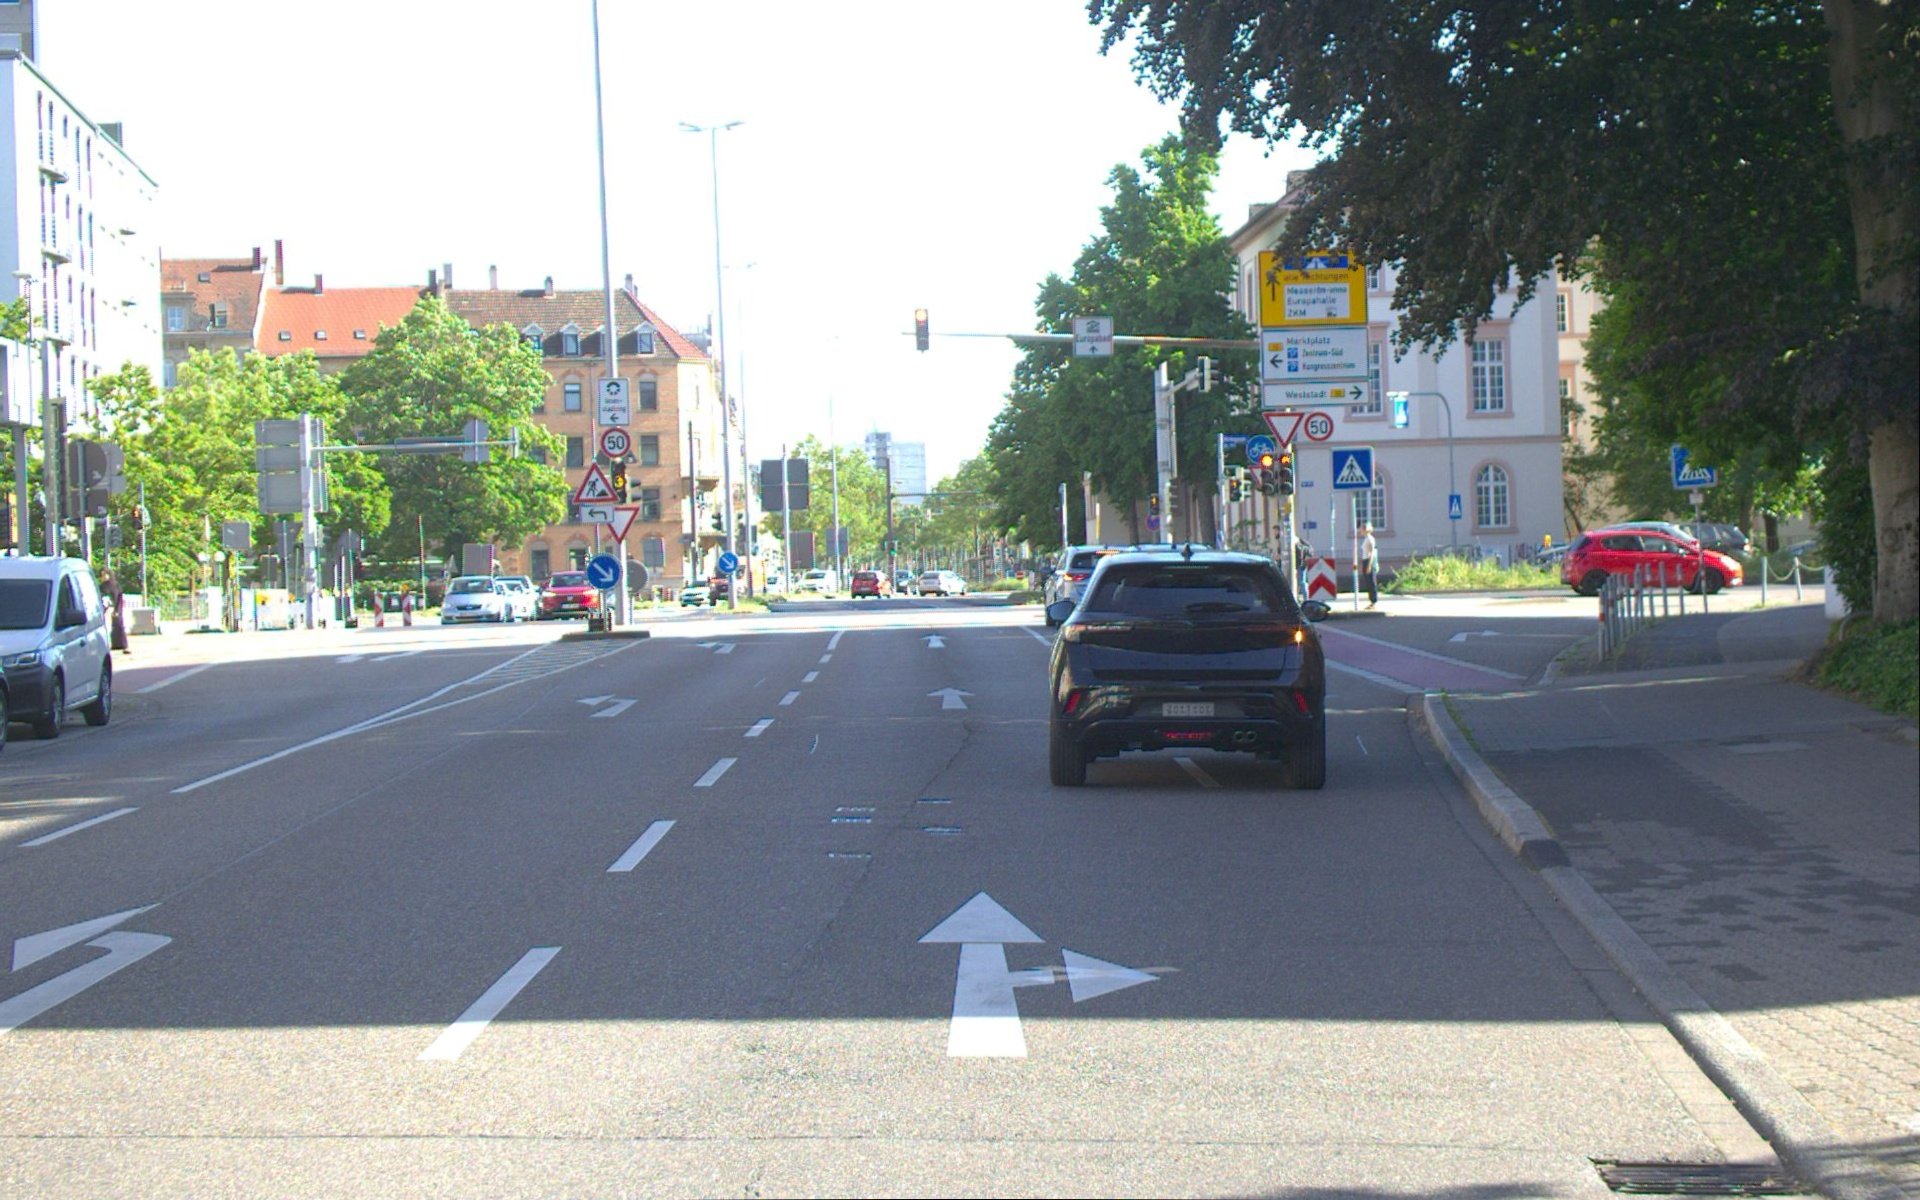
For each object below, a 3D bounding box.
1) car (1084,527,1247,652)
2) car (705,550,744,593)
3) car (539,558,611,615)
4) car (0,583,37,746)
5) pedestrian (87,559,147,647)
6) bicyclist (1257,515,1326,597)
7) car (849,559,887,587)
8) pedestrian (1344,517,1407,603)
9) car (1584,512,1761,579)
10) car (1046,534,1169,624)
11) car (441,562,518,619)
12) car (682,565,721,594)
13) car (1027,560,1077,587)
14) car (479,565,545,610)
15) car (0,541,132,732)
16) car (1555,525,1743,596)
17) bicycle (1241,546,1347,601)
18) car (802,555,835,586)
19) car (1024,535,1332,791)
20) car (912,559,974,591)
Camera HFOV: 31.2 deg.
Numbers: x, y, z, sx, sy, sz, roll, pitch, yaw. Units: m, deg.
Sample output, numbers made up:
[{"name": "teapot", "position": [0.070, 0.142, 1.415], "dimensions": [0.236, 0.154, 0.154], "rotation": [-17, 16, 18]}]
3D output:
[{"name": "car", "position": [2.758, -0.177, 46.860], "dimensions": [1.830, 1.573, 3.840], "rotation": [-2, 1, -2]}, {"name": "car", "position": [-12.263, -1.491, 179.243], "dimensions": [1.810, 2.127, 4.000], "rotation": [-2, 1, -2]}, {"name": "car", "position": [-11.668, -0.416, 104.383], "dimensions": [1.791, 1.611, 4.000], "rotation": [-2, 1, -1]}, {"name": "car", "position": [-9.448, 0.626, 30.070], "dimensions": [1.671, 1.451, 4.111], "rotation": [-2, 1, -1]}, {"name": "pedestrian", "position": [-16.120, 0.052, 65.768], "dimensions": [0.676, 1.644, 0.830], "rotation": [-1, 1, 45]}, {"name": "bicyclist", "position": [6.708, -0.891, 69.564], "dimensions": [1.165, 1.628, 0.729], "rotation": [-1, 1, -17]}, {"name": "car", "position": [-4.899, -1.458, 183.996], "dimensions": [1.810, 1.402, 4.000], "rotation": [-2, 1, 1]}, {"name": "pedestrian", "position": [8.233, -0.802, 68.106], "dimensions": [1.040, 1.654, 0.784], "rotation": [-2, 1, -6]}, {"name": "car", "position": [18.624, -1.427, 89.910], "dimensions": [4.113, 1.596, 1.823], "rotation": [-2, 1, -8]}, {"name": "car", "position": [2.539, -0.392, 60.005], "dimensions": [1.830, 1.447, 3.988], "rotation": [-2, 1, -2]}, {"name": "car", "position": [-14.801, -0.305, 106.077], "dimensions": [1.874, 1.611, 4.000], "rotation": [-2, 1, -2]}, {"name": "car", "position": [-14.032, -1.113, 186.714], "dimensions": [1.874, 1.443, 4.000], "rotation": [-2, 1, -2]}, {"name": "car", "position": [5.788, -1.648, 215.804], "dimensions": [1.863, 1.654, 3.996], "rotation": [1, 1, 21]}, {"name": "car", "position": [-15.577, -0.452, 119.678], "dimensions": [1.874, 1.443, 4.000], "rotation": [-2, 1, -2]}, {"name": "car", "position": [-9.845, 0.333, 35.307], "dimensions": [1.818, 1.827, 4.563], "rotation": [-2, 1, -4]}, {"name": "car", "position": [15.486, -0.899, 77.364], "dimensions": [3.873, 1.447, 1.777], "rotation": [-2, 1, 2]}, {"name": "bicycle", "position": [6.770, -0.542, 69.599], "dimensions": [2.031, 1.057, 0.622], "rotation": [-1, 1, -16]}, {"name": "car", "position": [-8.153, -1.704, 197.676], "dimensions": [1.810, 1.628, 4.000], "rotation": [-2, 1, -2]}, {"name": "car", "position": [1.386, 0.365, 23.073], "dimensions": [1.745, 1.568, 3.558], "rotation": [-1, 1, -1]}, {"name": "car", "position": [-0.985, -1.447, 197.854], "dimensions": [2.178, 1.692, 3.996], "rotation": [-2, 1, 22]}]
